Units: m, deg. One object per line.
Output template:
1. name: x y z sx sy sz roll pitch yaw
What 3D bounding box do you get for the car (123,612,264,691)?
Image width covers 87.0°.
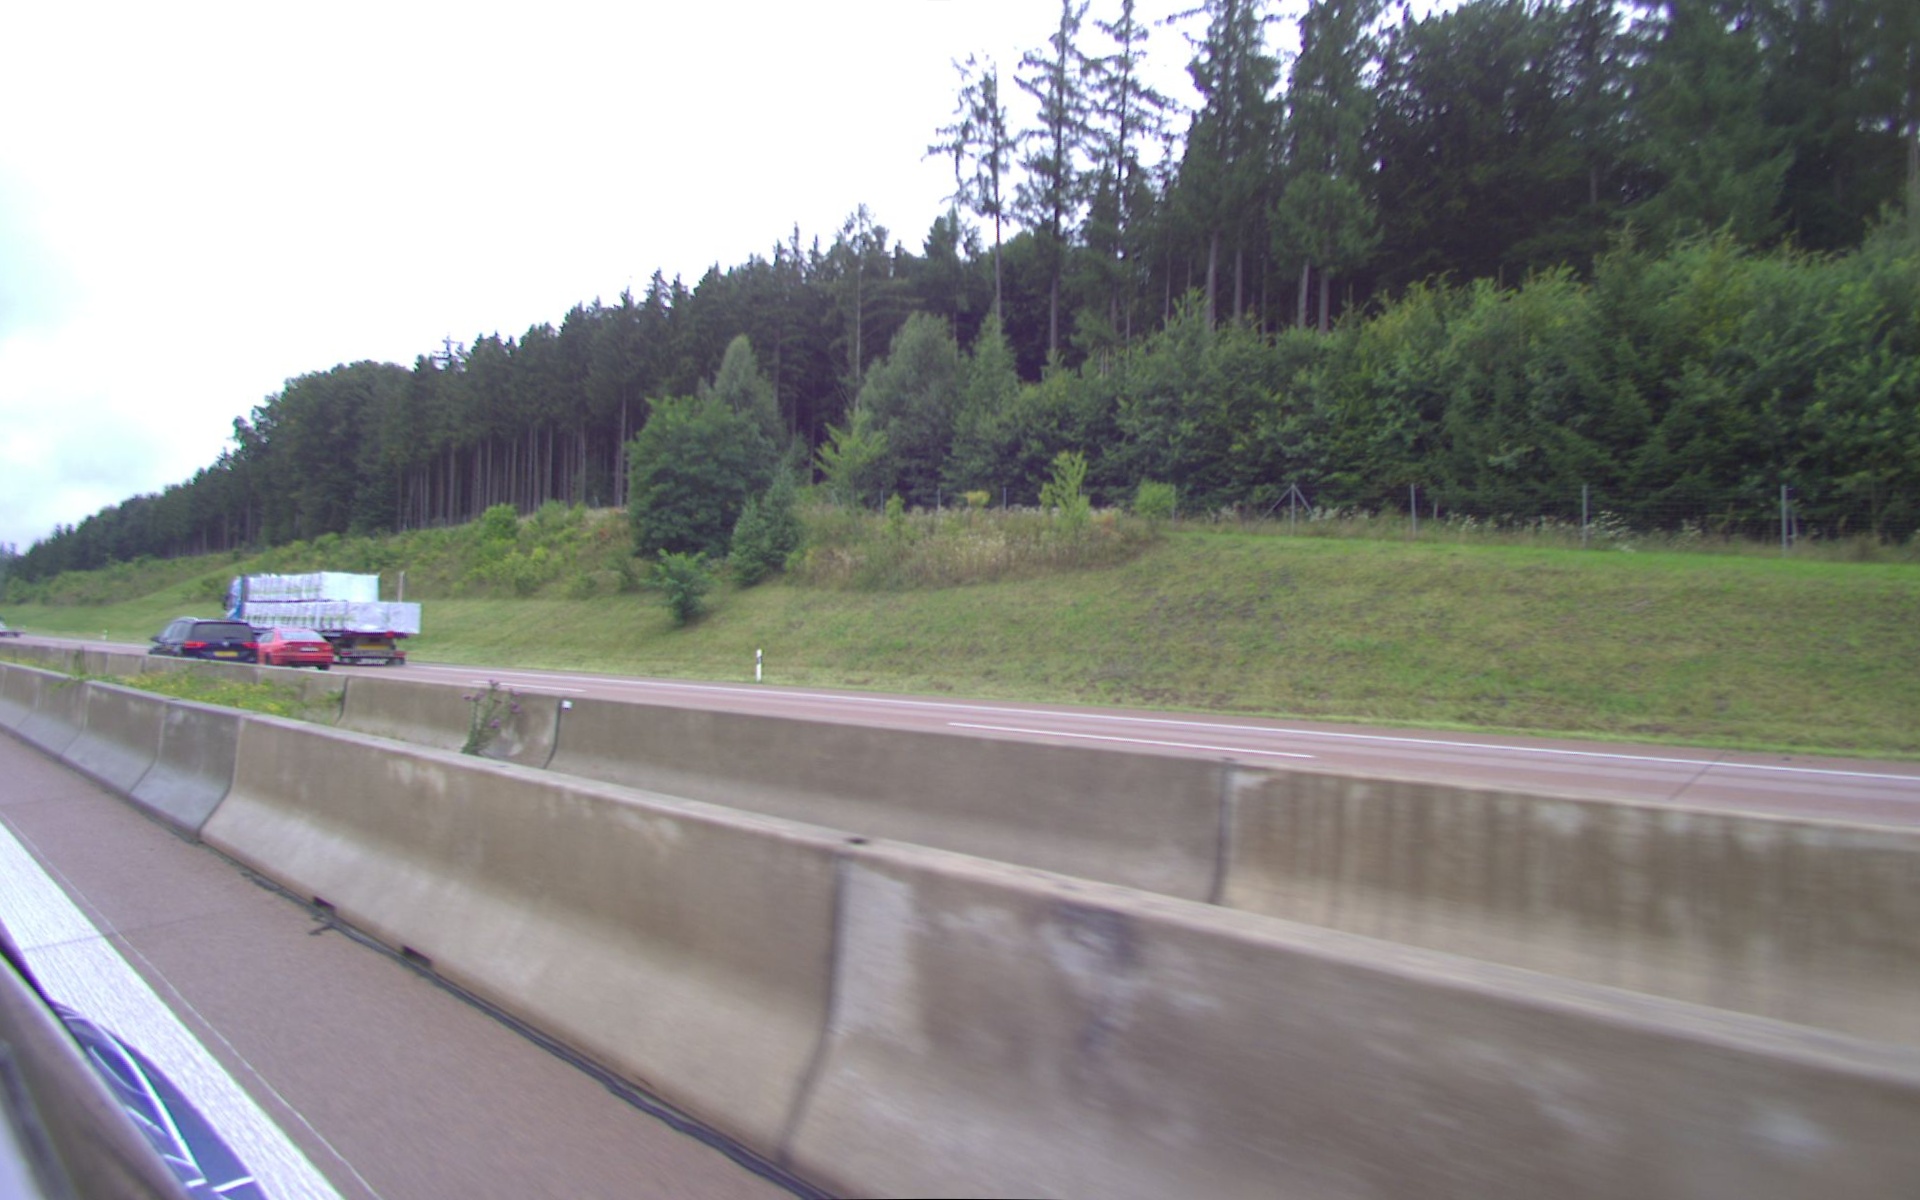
1. car: -21.227 1.307 27.901 6.234 1.855 1.800 0 1 40

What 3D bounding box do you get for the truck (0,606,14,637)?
1. truck: -106.109 2.343 110.931 6.490 3.196 2.834 0 1 40

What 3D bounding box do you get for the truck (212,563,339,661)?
1. truck: -33.453 0.709 49.336 7.643 4.354 2.934 -2 -5 40

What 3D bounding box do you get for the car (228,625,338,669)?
1. car: -23.071 1.548 34.409 5.111 1.380 1.800 -1 -1 40

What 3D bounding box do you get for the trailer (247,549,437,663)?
1. trailer: -27.128 0.447 43.970 12.934 4.309 2.903 -2 -5 40

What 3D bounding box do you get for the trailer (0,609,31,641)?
1. trailer: -100.405 2.555 105.976 14.425 3.020 2.810 0 1 40
